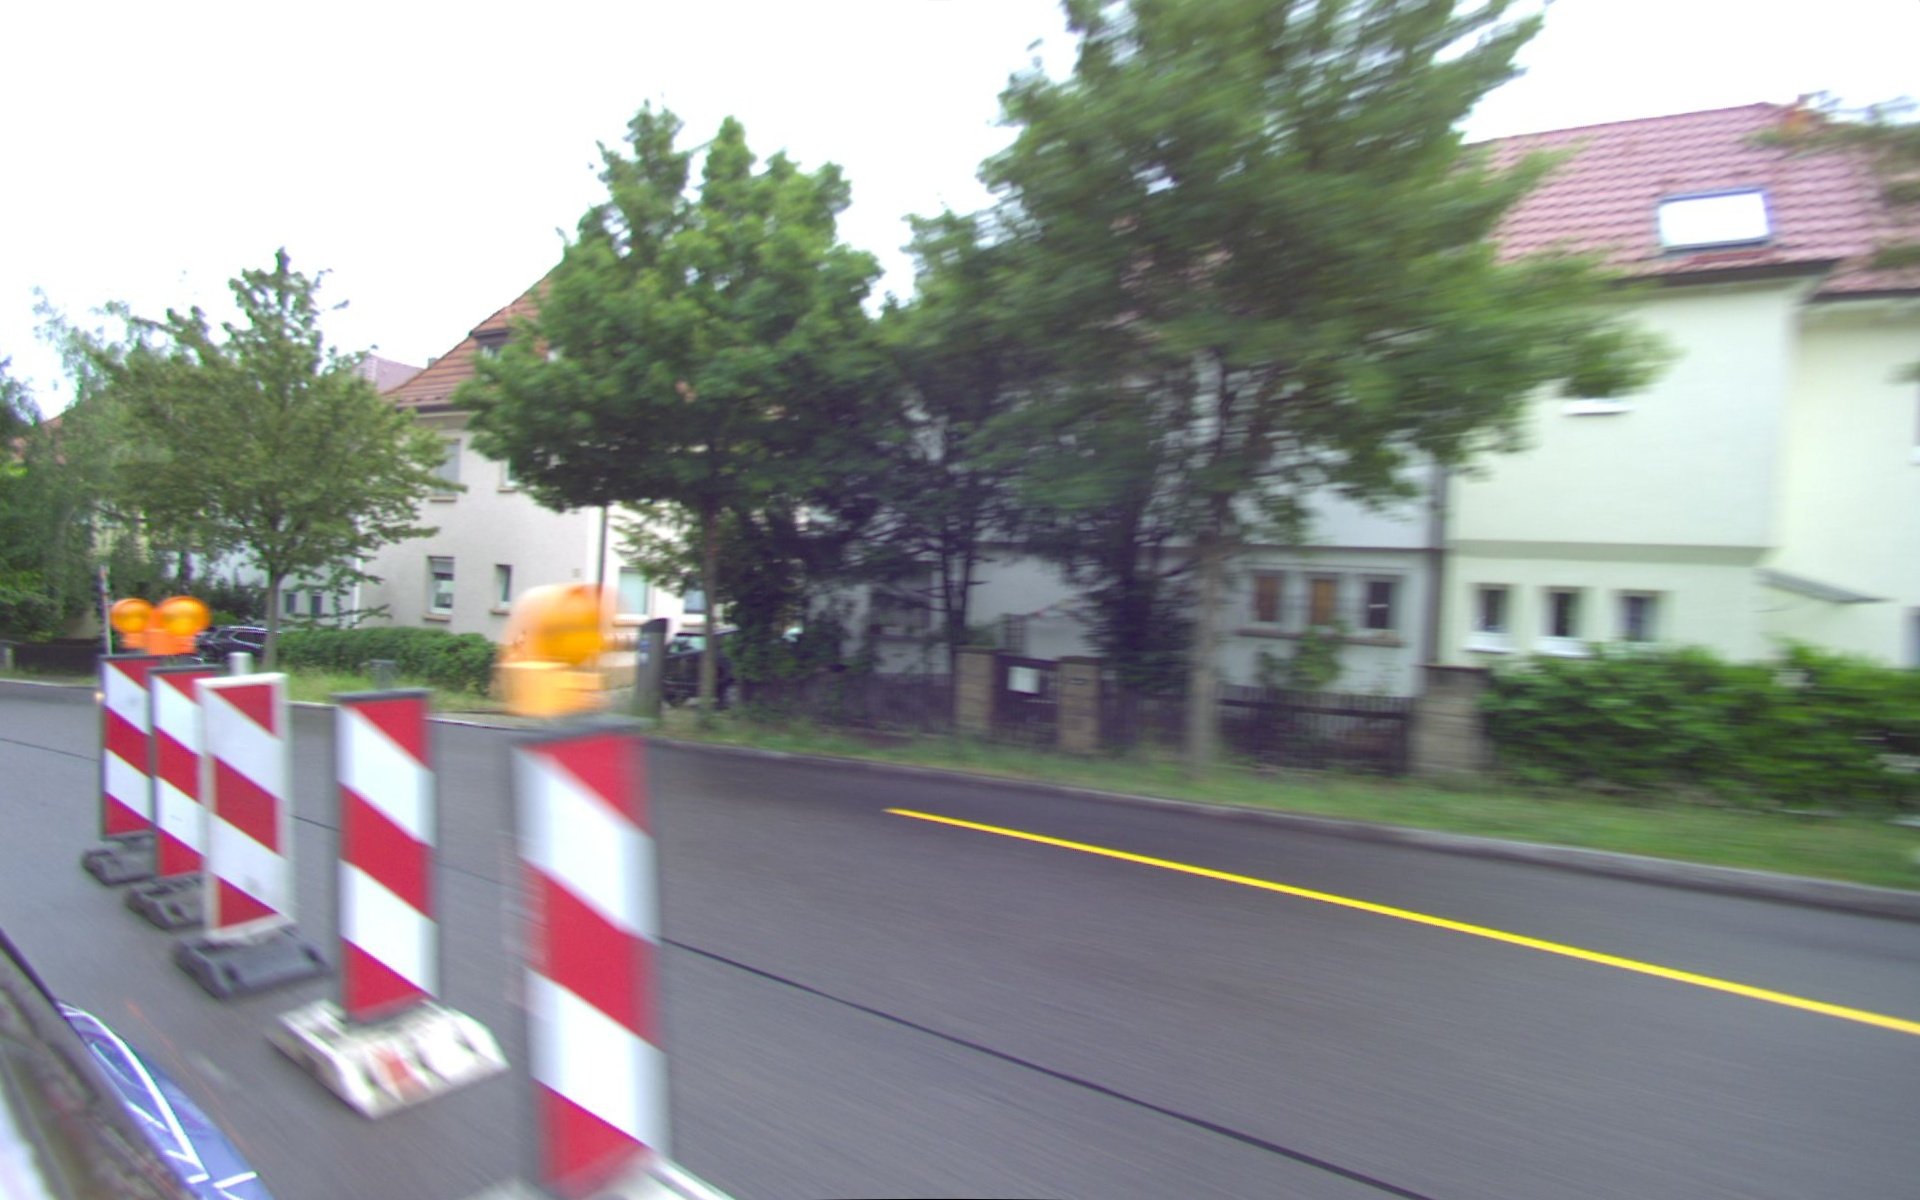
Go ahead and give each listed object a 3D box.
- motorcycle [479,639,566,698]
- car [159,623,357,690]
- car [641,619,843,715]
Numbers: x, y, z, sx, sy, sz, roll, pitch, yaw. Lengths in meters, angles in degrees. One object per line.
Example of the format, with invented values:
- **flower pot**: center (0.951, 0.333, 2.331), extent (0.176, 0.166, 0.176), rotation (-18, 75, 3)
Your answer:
- **motorcycle**: center (-9.848, 1.524, 22.774), extent (1.960, 1.258, 0.727), rotation (-1, -1, 28)
- **car**: center (-20.344, 1.680, 29.512), extent (1.908, 1.516, 4.206), rotation (0, -8, 32)
- **car**: center (-4.357, 1.278, 20.783), extent (1.858, 1.554, 3.910), rotation (0, 2, 32)
